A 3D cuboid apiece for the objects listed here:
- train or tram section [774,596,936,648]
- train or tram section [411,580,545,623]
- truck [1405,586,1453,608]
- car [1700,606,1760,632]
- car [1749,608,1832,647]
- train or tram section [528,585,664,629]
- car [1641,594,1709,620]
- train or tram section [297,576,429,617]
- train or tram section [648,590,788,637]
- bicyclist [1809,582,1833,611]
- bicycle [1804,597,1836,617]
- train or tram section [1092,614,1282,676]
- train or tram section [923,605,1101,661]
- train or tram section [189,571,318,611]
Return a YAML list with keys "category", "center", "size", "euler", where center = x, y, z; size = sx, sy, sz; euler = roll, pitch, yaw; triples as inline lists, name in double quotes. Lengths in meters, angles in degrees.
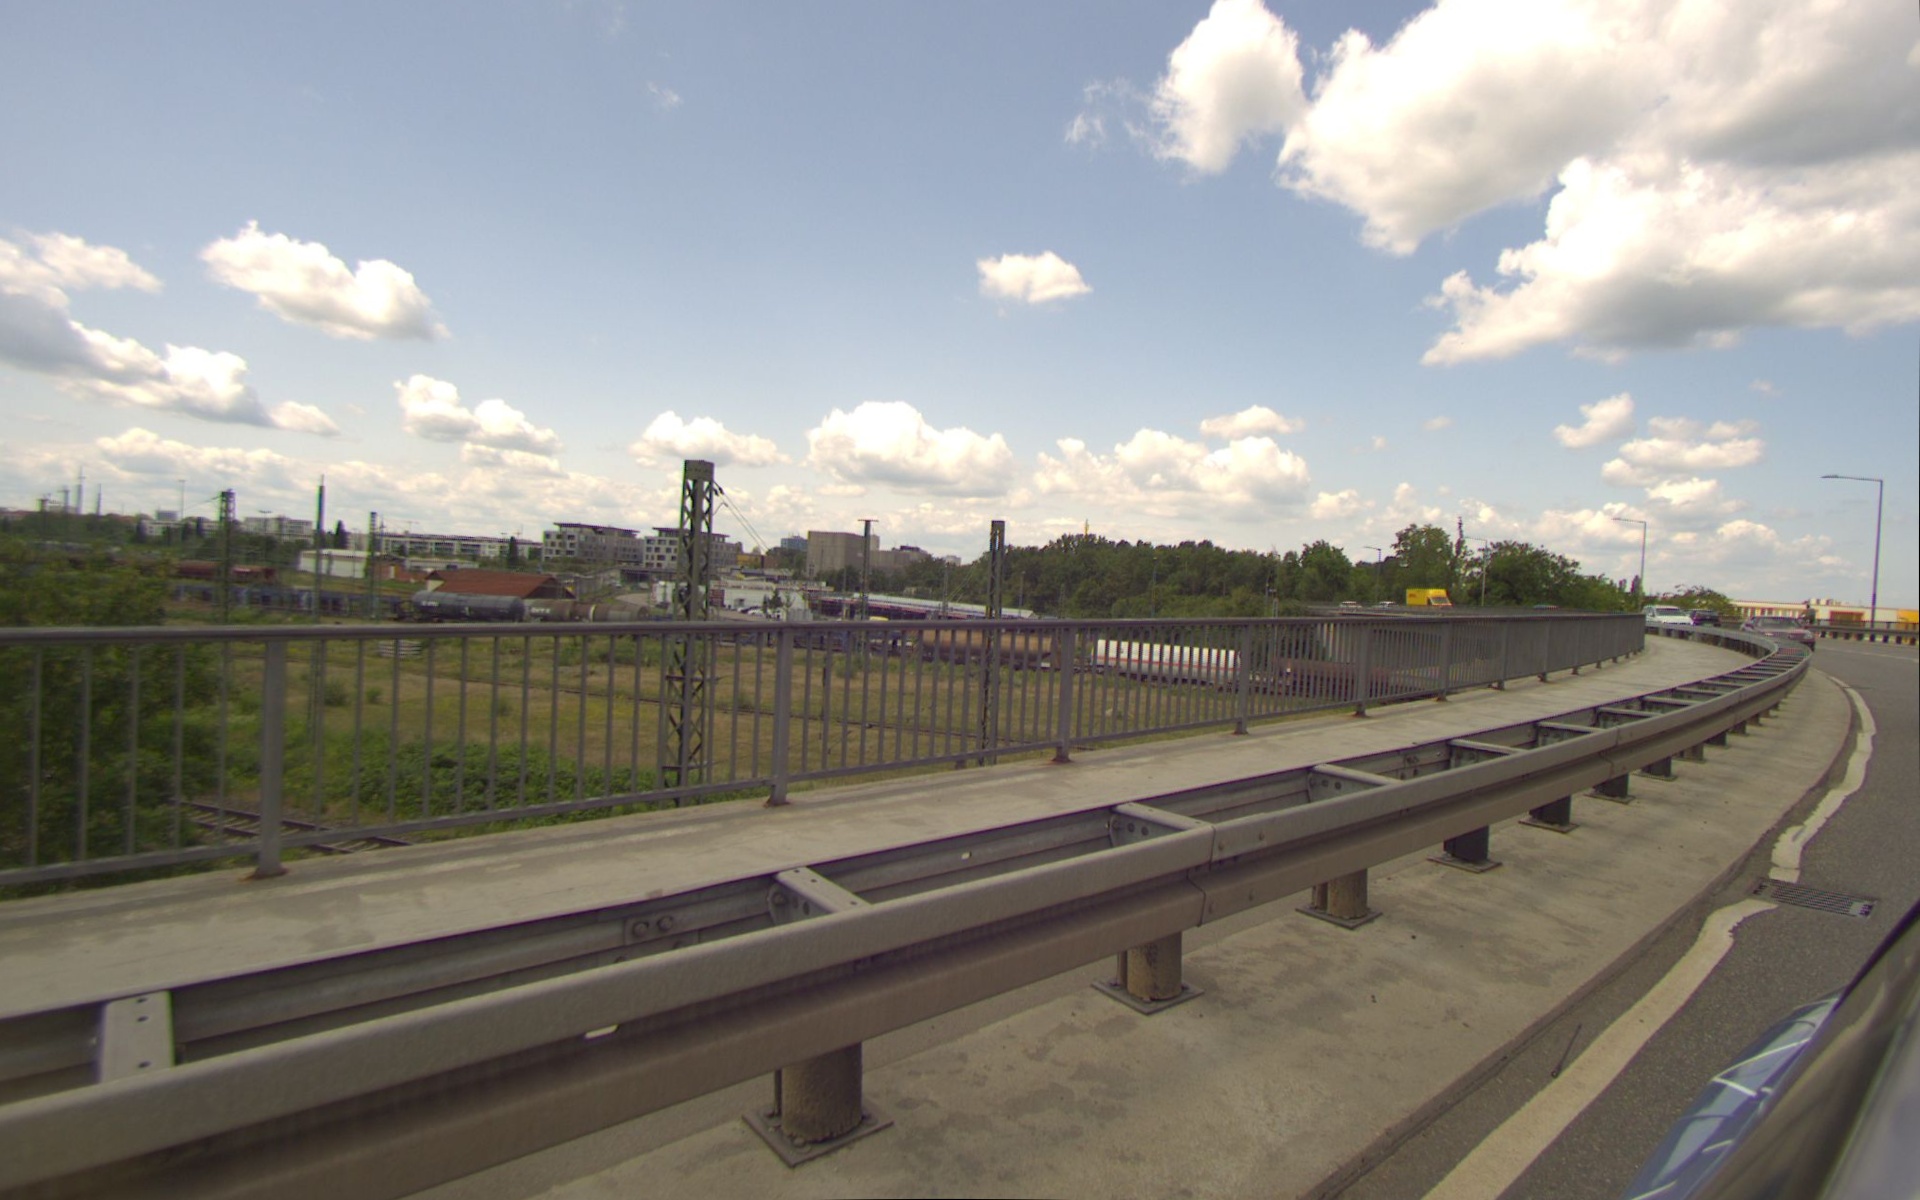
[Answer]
- category: "train or tram section"
  center: [-11.235, 2.245, 106.730]
  size: [17.487, 4.202, 3.192]
  euler: [3, 4, 21]
- category: "train or tram section"
  center: [-57.388, 0.090, 120.438]
  size: [15.718, 4.202, 3.204]
  euler: [2, 4, 12]
- category: "truck"
  center: [48.273, -0.390, 104.326]
  size: [1.962, 2.038, 6.147]
  euler: [3, 2, 0]
- category: "car"
  center: [45.669, 1.092, 60.139]
  size: [1.798, 1.470, 3.898]
  euler: [0, 0, 21]
- category: "car"
  center: [31.597, 1.021, 38.626]
  size: [1.813, 1.355, 3.957]
  euler: [0, 0, 30]
- category: "train or tram section"
  center: [-42.064, 0.750, 116.827]
  size: [15.733, 4.202, 3.201]
  euler: [3, 4, 15]
- category: "car"
  center: [39.874, 0.368, 56.532]
  size: [1.932, 1.355, 3.978]
  euler: [-1, 0, 17]
- category: "train or tram section"
  center: [-72.824, -0.535, 123.502]
  size: [15.712, 4.202, 3.205]
  euler: [2, 4, 11]
- category: "train or tram section"
  center: [-26.915, 1.451, 112.360]
  size: [15.754, 4.202, 3.196]
  euler: [3, 4, 18]
- category: "bicyclist"
  center: [48.977, -0.196, 57.574]
  size: [0.761, 1.622, 0.940]
  euler: [2, 1, 24]
- category: "bicycle"
  center: [49.002, 0.403, 57.672]
  size: [0.763, 1.108, 2.098]
  euler: [2, 1, 24]
- category: "train or tram section"
  center: [20.702, 4.025, 93.304]
  size: [16.797, 4.202, 3.191]
  euler: [4, 4, 26]
- category: "train or tram section"
  center: [4.999, 3.143, 100.302]
  size: [17.489, 4.202, 3.191]
  euler: [3, 4, 22]
- category: "train or tram section"
  center: [-88.288, -1.163, 126.496]
  size: [15.712, 4.202, 3.205]
  euler: [2, 4, 11]
